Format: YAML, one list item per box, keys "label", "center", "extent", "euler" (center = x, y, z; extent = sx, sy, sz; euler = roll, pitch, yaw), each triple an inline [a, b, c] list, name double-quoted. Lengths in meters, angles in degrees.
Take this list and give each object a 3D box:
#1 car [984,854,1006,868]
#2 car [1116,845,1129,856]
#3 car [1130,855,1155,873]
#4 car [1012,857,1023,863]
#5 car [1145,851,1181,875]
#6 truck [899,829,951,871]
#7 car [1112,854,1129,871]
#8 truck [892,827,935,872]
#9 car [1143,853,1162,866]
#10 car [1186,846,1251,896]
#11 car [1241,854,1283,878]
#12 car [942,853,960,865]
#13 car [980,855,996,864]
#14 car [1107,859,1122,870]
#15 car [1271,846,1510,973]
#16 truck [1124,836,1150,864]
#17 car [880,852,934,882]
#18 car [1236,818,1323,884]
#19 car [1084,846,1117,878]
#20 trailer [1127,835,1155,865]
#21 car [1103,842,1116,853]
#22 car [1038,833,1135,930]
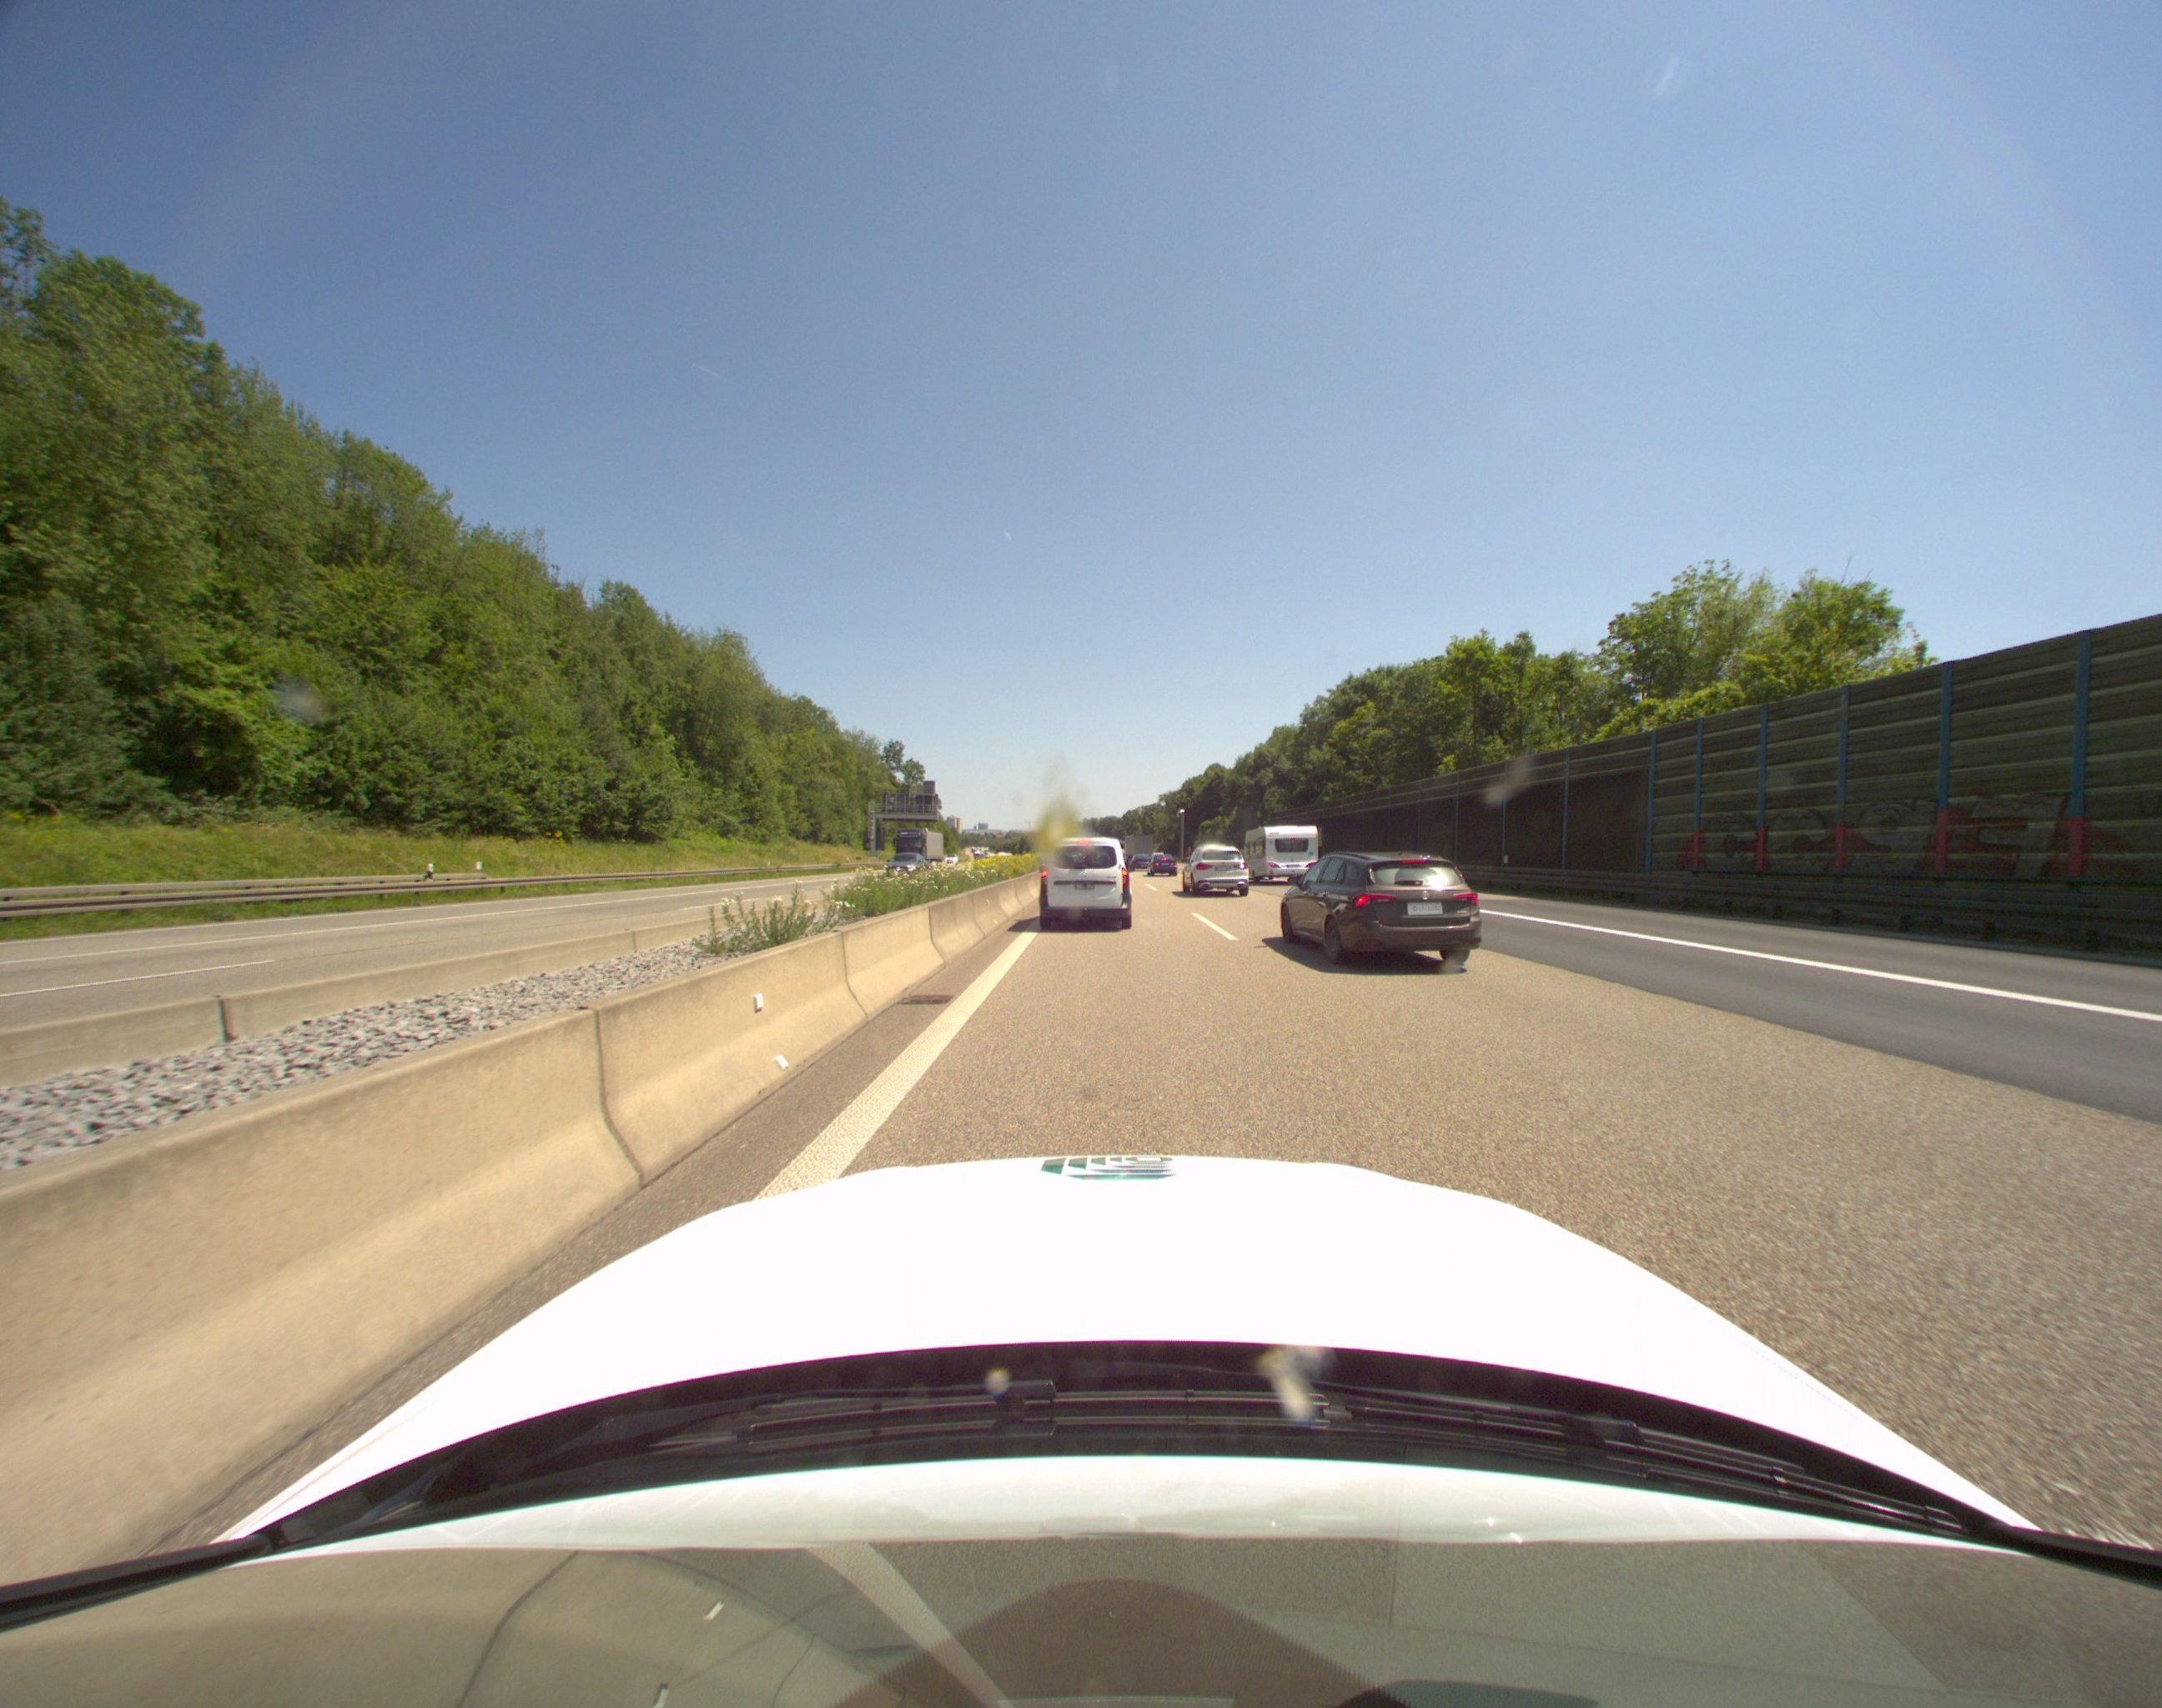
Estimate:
- label: "car"
  center: [-10.045, 0.809, 95.392]
  extent: [1.987, 1.498, 4.248]
  euler: [0, 0, 1]
- label: "car"
  center: [7.338, -0.640, 144.812]
  extent: [1.987, 2.013, 3.999]
  euler: [-1, 0, 0]
- label: "car"
  center: [5.131, 0.819, 68.459]
  extent: [1.818, 1.424, 3.999]
  euler: [-1, 0, 0]
- label: "car"
  center: [-13.609, 1.279, 175.343]
  extent: [1.987, 1.178, 4.064]
  euler: [-1, 0, 0]
- label: "car"
  center: [5.132, 0.559, 51.401]
  extent: [1.818, 1.424, 3.999]
  euler: [-1, 0, 0]
- label: "truck"
  center: [-15.547, -0.370, 82.102]
  extent: [2.821, 3.939, 13.738]
  euler: [0, 0, -1]
- label: "car"
  center: [4.509, 0.958, 93.707]
  extent: [1.818, 1.989, 3.999]
  euler: [-1, 0, 0]
- label: "truck"
  center: [-15.424, -0.403, 75.466]
  extent: [2.821, 3.939, 6.003]
  euler: [0, 0, -1]
- label: "car"
  center: [8.220, 0.630, 93.872]
  extent: [1.818, 1.424, 3.999]
  euler: [-1, 0, 0]
- label: "car"
  center: [4.719, 0.532, 28.346]
  extent: [1.863, 1.608, 3.883]
  euler: [0, 0, 4]
- label: "car"
  center: [11.389, 0.729, 51.432]
  extent: [1.818, 1.424, 4.000]
  euler: [-1, 0, 1]
- label: "car"
  center: [-19.666, 0.775, 123.390]
  extent: [1.987, 1.692, 4.767]
  euler: [-1, 0, 0]
- label: "car"
  center: [-15.102, 0.850, 132.501]
  extent: [1.987, 1.491, 4.000]
  euler: [-1, 0, 0]
- label: "car"
  center: [4.525, 1.356, 110.227]
  extent: [1.818, 1.447, 3.999]
  euler: [-1, 0, 0]
- label: "car"
  center: [4.208, 0.644, 11.904]
  extent: [1.832, 1.513, 4.401]
  euler: [0, 0, 0]
- label: "truck"
  center: [8.221, -0.545, 120.619]
  extent: [3.072, 3.985, 9.644]
  euler: [-1, 0, 0]
- label: "car"
  center: [-9.793, 0.695, 46.265]
  extent: [1.986, 1.627, 4.475]
  euler: [0, 0, 1]
- label: "car"
  center: [9.081, -0.115, 37.938]
  extent: [2.471, 2.766, 6.218]
  euler: [-1, 0, 0]
- label: "car"
  center: [1.177, 0.494, 51.066]
  extent: [1.987, 1.860, 3.999]
  euler: [-1, 0, 0]
- label: "trailer"
  center: [8.230, -0.548, 113.359]
  extent: [3.072, 3.985, 10.320]
  euler: [-1, 0, 0]
- label: "car"
  center: [5.653, -1.270, 162.159]
  extent: [1.990, 2.013, 3.994]
  euler: [-1, 0, -4]
- label: "car"
  center: [0.230, 0.506, 17.223]
  extent: [1.794, 1.808, 4.004]
  euler: [0, 0, 4]
